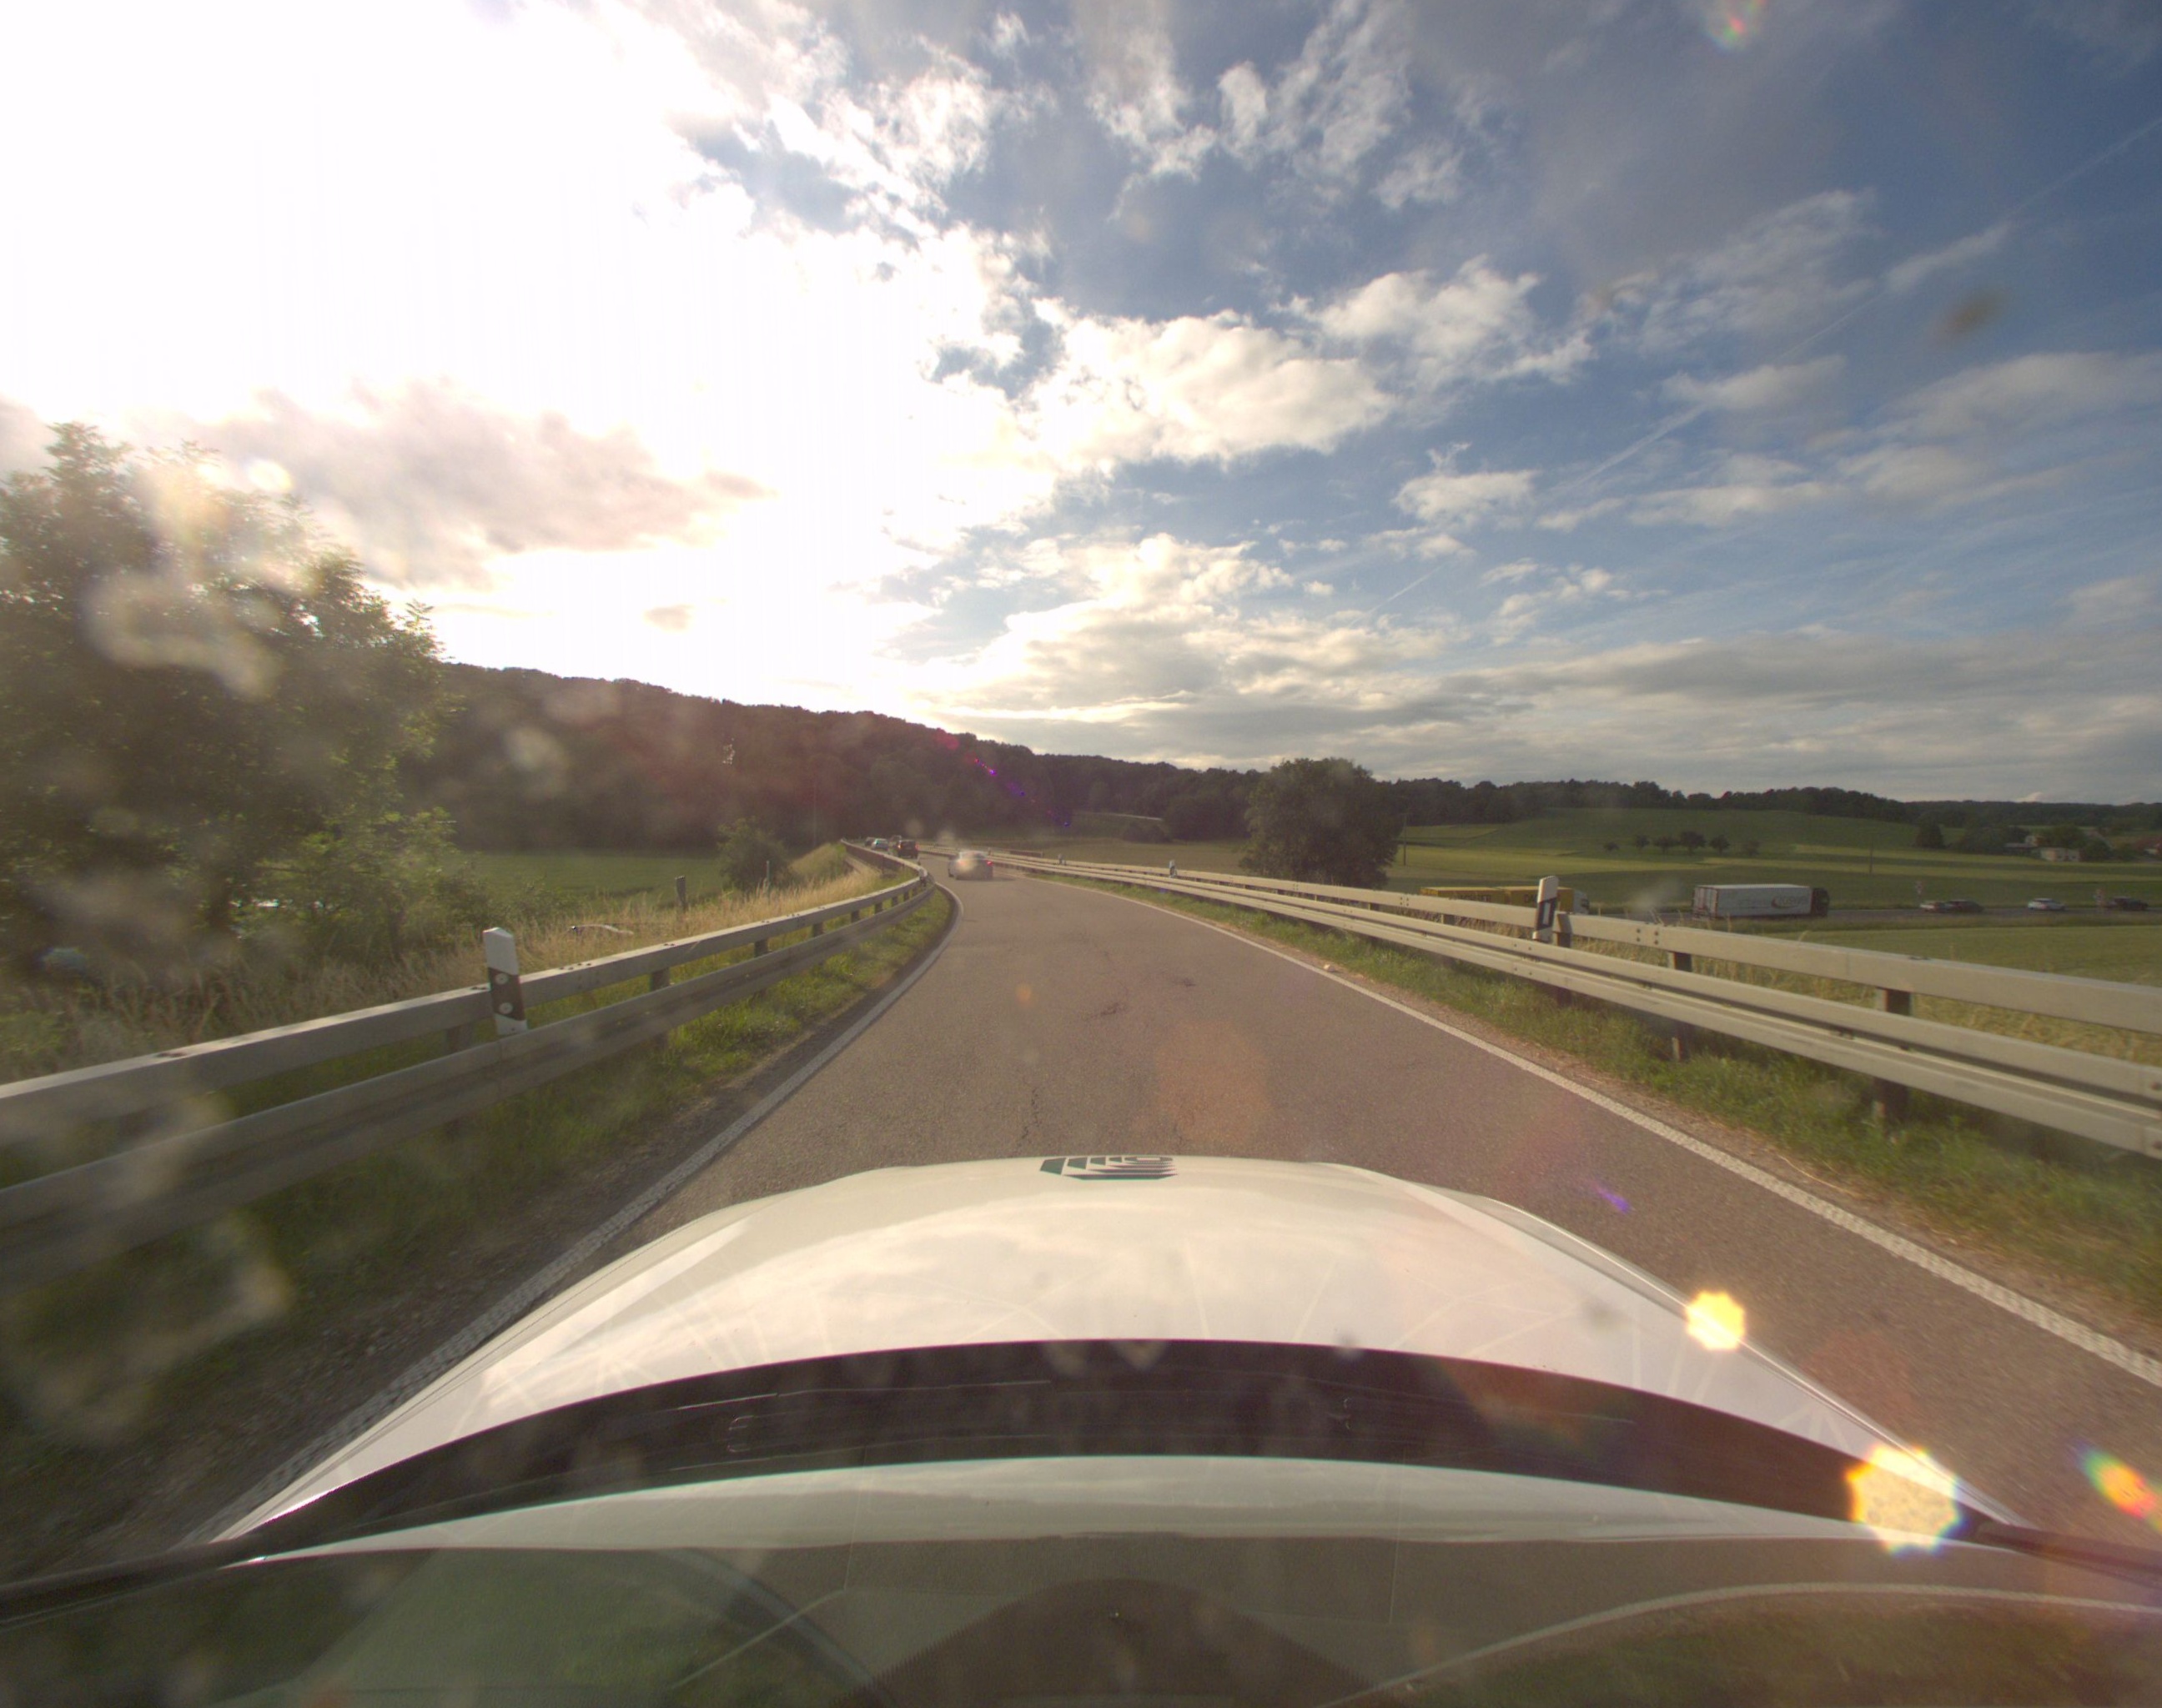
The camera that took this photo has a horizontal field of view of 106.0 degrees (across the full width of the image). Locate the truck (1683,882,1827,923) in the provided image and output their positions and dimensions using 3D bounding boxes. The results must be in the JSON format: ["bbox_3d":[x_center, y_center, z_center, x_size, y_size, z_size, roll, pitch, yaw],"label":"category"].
[{"bbox_3d":[71.646,5.058,86.593,14.397,3.997,4.059,0,-3,-14],"label":"truck"}]

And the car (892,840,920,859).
[{"bbox_3d":[-15.477,-0.427,71.917,1.869,1.568,3.972,1,1,-21],"label":"car"}]

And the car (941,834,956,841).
[{"bbox_3d":[-32.825,-4.078,201.824,1.978,1.771,4.018,-1,1,17],"label":"car"}]

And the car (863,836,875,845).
[{"bbox_3d":[-31.764,-1.973,121.849,1.472,1.227,3.288,1,2,-11],"label":"car"}]

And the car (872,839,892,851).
[{"bbox_3d":[-24.136,-1.113,98.649,1.690,1.376,3.968,0,1,-25],"label":"car"}]

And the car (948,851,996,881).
[{"bbox_3d":[-5.510,0.579,40.896,1.822,1.339,4.328,-1,1,-15],"label":"car"}]

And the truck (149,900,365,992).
[{"bbox_3d":[-46.905,5.113,46.752,8.058,4.466,3.010,0,4,-21],"label":"truck"}]

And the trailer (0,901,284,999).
[{"bbox_3d":[-52.683,5.117,44.495,12.732,4.466,3.012,0,4,-21],"label":"trailer"}]

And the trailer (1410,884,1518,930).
[{"bbox_3d":[36.302,4.893,77.198,9.122,4.060,3.814,1,-1,-18],"label":"trailer"}]

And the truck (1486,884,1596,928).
[{"bbox_3d":[45.242,5.054,80.072,9.794,4.060,3.814,1,-1,-18],"label":"truck"}]

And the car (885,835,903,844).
[{"bbox_3d":[-38.502,-2.947,167.769,1.981,1.679,4.190,2,0,10],"label":"car"}]
